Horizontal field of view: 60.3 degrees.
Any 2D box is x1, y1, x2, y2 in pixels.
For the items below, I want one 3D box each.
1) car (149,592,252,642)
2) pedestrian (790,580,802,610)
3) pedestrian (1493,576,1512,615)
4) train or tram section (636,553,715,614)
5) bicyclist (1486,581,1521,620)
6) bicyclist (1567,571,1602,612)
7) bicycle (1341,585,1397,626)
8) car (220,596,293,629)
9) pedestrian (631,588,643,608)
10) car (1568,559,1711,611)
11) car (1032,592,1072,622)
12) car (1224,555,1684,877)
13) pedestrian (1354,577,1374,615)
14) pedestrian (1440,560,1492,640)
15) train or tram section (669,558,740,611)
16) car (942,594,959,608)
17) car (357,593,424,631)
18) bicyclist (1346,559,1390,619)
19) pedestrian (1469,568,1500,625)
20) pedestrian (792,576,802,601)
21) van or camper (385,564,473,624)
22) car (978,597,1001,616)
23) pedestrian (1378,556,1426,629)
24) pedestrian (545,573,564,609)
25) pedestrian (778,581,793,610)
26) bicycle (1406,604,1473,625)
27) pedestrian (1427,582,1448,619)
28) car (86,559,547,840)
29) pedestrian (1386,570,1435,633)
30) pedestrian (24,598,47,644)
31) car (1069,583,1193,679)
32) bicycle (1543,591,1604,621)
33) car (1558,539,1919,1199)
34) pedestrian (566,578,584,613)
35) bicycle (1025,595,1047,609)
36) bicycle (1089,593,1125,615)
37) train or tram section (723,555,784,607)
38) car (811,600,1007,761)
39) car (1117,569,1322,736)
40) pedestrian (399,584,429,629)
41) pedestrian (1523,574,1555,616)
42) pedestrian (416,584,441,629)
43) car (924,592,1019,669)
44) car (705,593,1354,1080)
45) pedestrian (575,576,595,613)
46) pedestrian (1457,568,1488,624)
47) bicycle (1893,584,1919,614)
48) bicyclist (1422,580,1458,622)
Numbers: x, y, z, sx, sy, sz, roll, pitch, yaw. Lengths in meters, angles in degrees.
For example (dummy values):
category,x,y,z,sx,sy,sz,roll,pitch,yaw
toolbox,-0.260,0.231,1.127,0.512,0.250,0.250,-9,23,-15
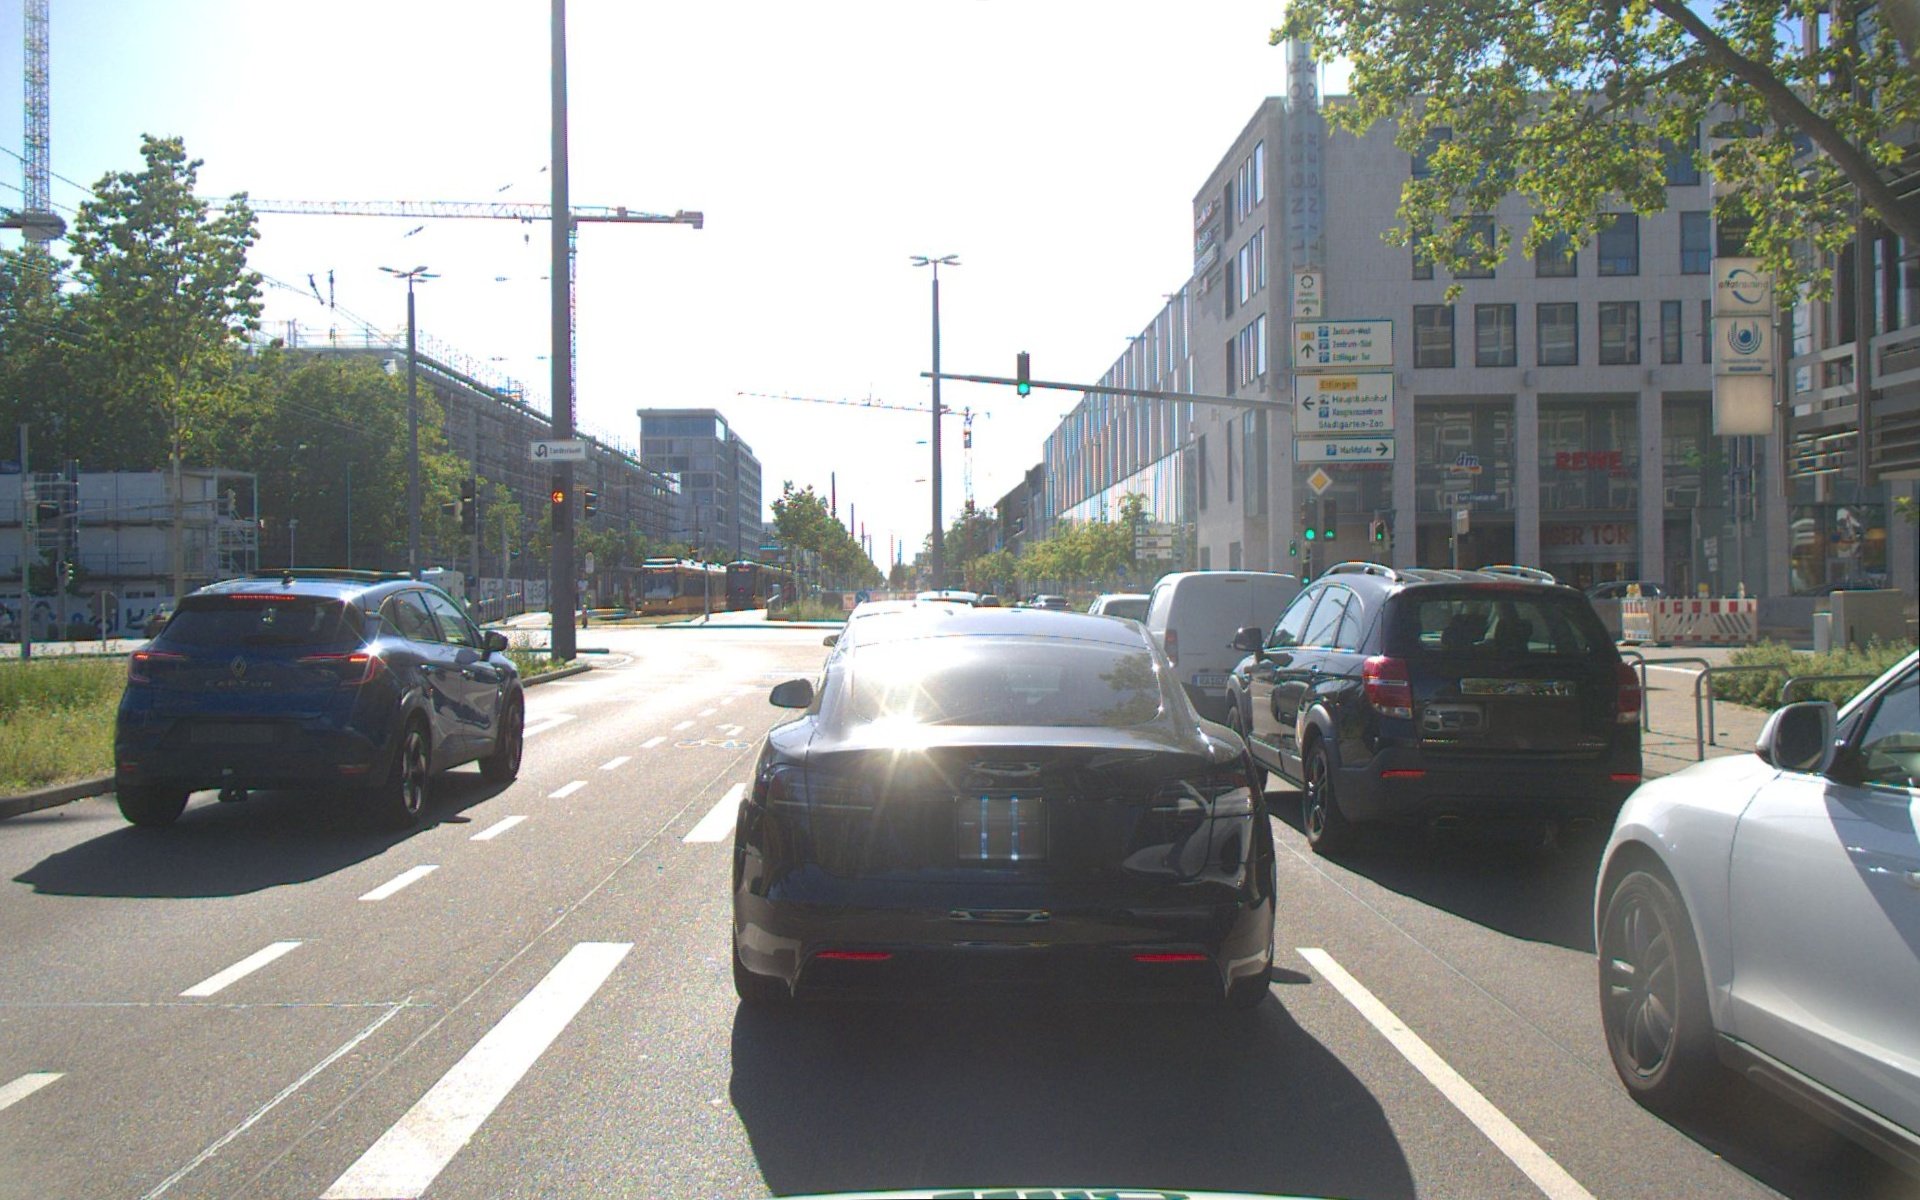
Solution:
category,x,y,z,sx,sy,sz,roll,pitch,yaw
car,-27.858,0.590,60.797,1.788,1.719,4.092,-1,1,1
pedestrian,-10.100,-0.304,102.115,0.689,1.806,0.958,1,1,-5
pedestrian,24.993,-0.197,76.173,0.551,1.793,0.641,-2,1,-38
train or tram section,-16.994,-0.955,99.588,2.812,3.367,13.068,1,0,-2
bicyclist,19.884,0.021,60.539,0.913,1.420,1.077,-1,0,2
bicyclist,22.835,-0.317,60.507,0.913,1.458,1.041,-1,0,2
bicycle,10.423,0.130,42.209,0.863,1.002,2.050,-1,1,-1
car,-36.263,0.642,85.347,1.952,1.629,4.000,1,0,1
pedestrian,-20.120,-0.123,103.041,0.658,1.248,0.505,1,-1,-4
car,23.103,-0.502,56.358,4.099,1.641,1.861,-1,-1,1
car,4.933,0.352,89.061,1.895,1.569,3.999,0,1,-1
car,3.015,0.600,11.108,1.748,1.729,4.412,0,1,0
pedestrian,17.885,-0.175,73.280,0.732,1.636,0.556,-1,1,-3
pedestrian,13.209,-0.009,43.199,0.929,2.049,1.077,0,0,-8
train or tram section,-17.446,-0.963,114.063,2.790,3.379,15.960,1,0,-2
car,-1.124,0.091,190.455,1.895,1.569,3.999,0,1,-1
car,-27.252,0.553,79.280,1.907,1.737,4.365,-1,0,-3
bicyclist,10.418,-0.275,42.248,0.863,1.502,0.883,-1,0,-2
pedestrian,15.354,-0.103,48.401,0.648,1.640,0.526,-3,0,-10
pedestrian,-12.141,-0.823,123.123,0.658,1.842,1.074,-1,0,-2
van or camper,-28.011,-0.336,87.548,2.553,2.988,7.338,-1,0,-3
car,2.527,0.561,144.008,1.895,1.569,3.999,0,1,-1
pedestrian,12.575,-0.224,47.116,0.930,2.049,1.076,0,0,-12
pedestrian,-20.831,-0.475,85.026,0.784,1.855,0.975,-1,0,-4
pedestrian,-9.771,-0.250,92.695,0.726,1.657,0.861,0,0,-1
bicycle,17.455,0.526,60.246,2.147,0.683,1.072,-1,0,2
pedestrian,21.881,0.019,75.840,0.551,1.636,0.740,-2,1,-38
car,-4.279,0.574,11.736,1.734,1.616,4.087,1,0,-2
pedestrian,13.604,0.034,49.979,0.947,1.833,1.522,-3,0,-2
pedestrian,-37.558,0.852,67.188,0.694,1.855,0.587,-1,0,-39
car,2.935,0.486,29.103,1.748,1.573,4.038,0,1,0
bicycle,23.502,0.207,63.438,1.044,1.113,3.497,-1,0,0
car,2.979,0.685,3.540,1.782,1.641,4.412,0,1,0
pedestrian,-20.316,-0.250,87.303,0.784,1.855,0.975,-1,0,-4
bicycle,6.751,0.159,147.267,1.848,1.171,0.669,-2,0,-12
bicycle,8.626,0.247,97.043,2.041,1.226,0.951,-2,0,5
train or tram section,-14.460,-1.285,117.052,2.812,3.337,15.180,1,0,-2
car,-0.469,0.691,16.264,1.681,1.343,3.999,0,1,-1
car,2.956,0.532,19.644,1.748,1.764,4.163,0,1,0
pedestrian,-22.315,0.262,67.604,0.785,1.855,0.880,-1,0,31
pedestrian,23.917,-0.212,68.327,0.957,1.713,0.860,-1,0,-4
pedestrian,-22.381,0.272,69.634,0.784,1.855,0.975,-1,0,-4
car,0.170,0.528,31.258,1.681,1.343,3.999,0,1,-1
car,0.198,0.708,7.202,1.958,1.459,4.412,0,0,0
pedestrian,-19.137,-0.295,84.422,0.784,1.855,0.975,-1,0,-4
pedestrian,15.205,-0.118,49.028,0.648,1.640,0.526,-3,0,-10
bicycle,37.138,-0.043,63.237,1.044,1.113,3.498,-1,0,1
bicyclist,17.488,0.036,60.257,1.000,1.502,1.072,-1,0,2
